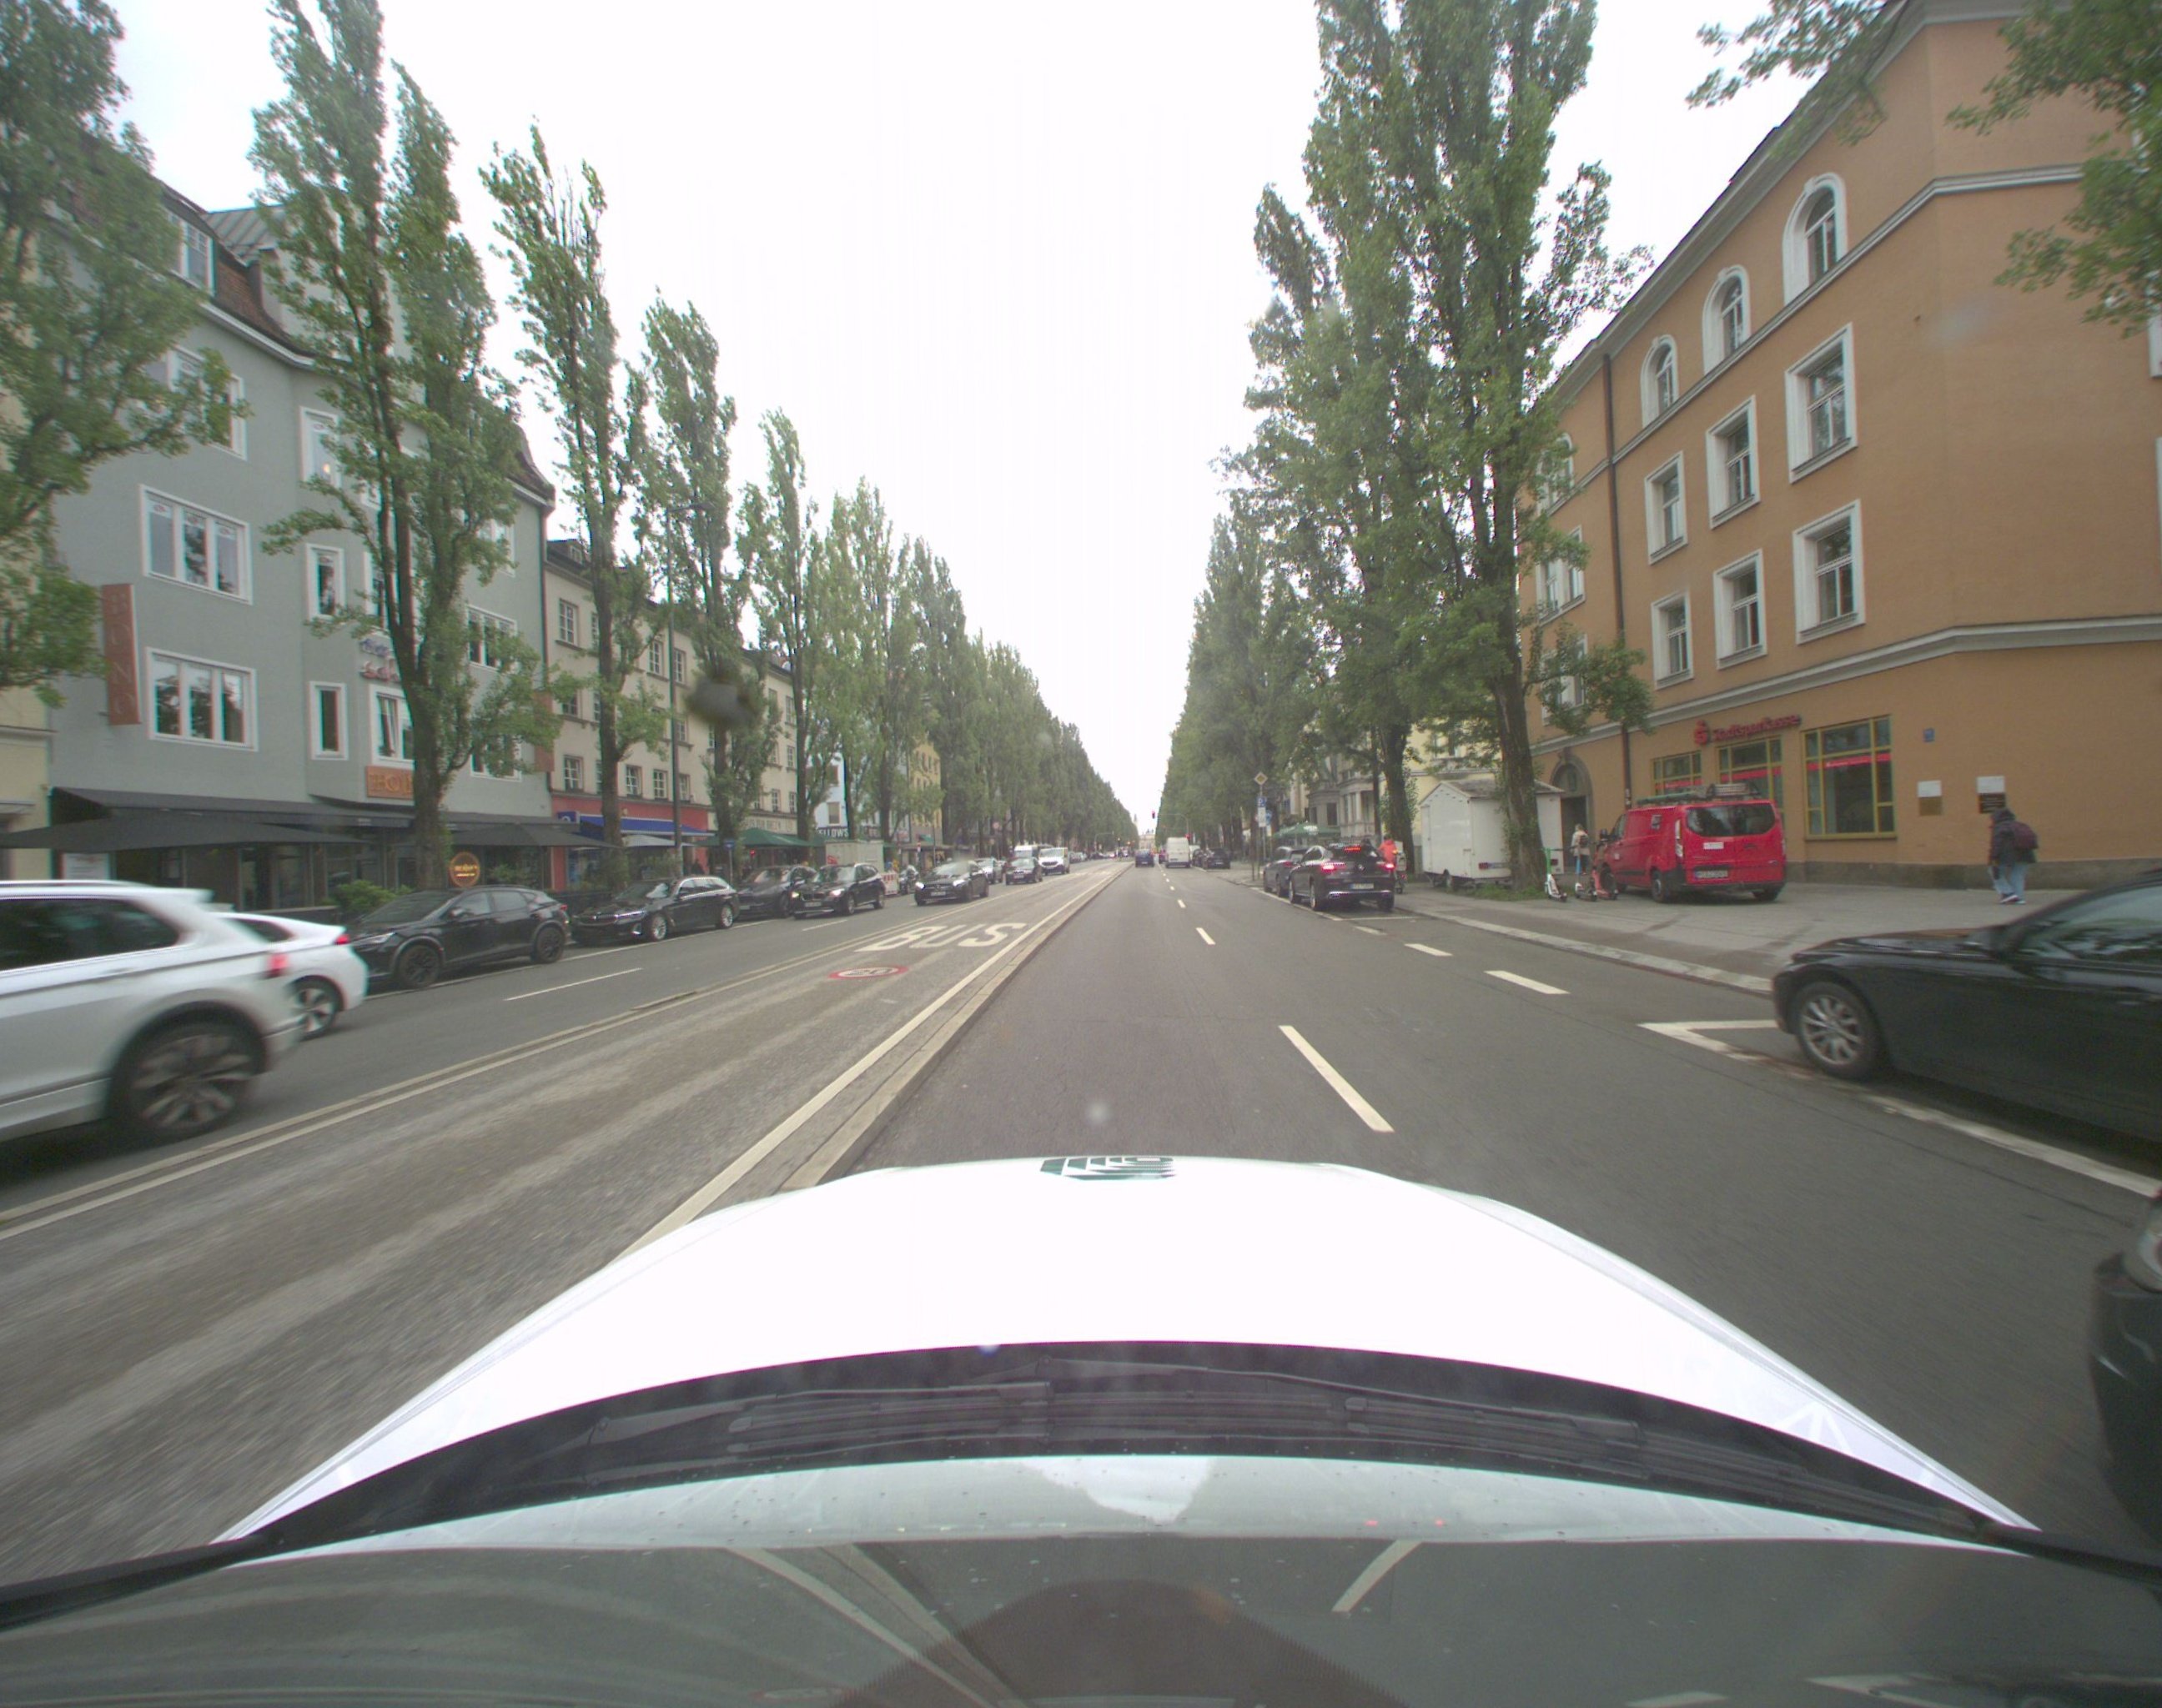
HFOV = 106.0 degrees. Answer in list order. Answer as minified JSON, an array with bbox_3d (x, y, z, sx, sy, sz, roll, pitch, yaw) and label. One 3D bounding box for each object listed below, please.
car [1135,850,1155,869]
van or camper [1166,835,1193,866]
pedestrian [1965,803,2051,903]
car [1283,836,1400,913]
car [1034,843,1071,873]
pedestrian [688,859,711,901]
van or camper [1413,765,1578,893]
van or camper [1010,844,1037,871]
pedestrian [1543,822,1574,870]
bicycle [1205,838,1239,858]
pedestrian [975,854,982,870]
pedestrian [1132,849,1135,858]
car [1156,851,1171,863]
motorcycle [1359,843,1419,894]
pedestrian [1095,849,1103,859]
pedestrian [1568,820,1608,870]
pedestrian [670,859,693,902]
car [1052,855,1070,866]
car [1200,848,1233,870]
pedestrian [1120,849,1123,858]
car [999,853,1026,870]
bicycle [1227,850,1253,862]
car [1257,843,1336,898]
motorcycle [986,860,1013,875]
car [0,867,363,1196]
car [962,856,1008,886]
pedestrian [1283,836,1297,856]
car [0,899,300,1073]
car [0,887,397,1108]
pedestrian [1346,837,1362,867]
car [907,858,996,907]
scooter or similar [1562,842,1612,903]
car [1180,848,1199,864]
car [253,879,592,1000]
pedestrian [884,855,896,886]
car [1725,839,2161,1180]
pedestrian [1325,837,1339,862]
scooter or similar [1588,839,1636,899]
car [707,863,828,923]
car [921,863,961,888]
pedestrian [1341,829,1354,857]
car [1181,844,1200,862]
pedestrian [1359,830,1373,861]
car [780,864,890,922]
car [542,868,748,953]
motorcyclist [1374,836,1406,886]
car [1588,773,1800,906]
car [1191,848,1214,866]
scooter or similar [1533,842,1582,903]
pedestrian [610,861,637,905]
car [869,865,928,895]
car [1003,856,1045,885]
[{"bbox_3d":[5.859,0.487,74.251,1.751,1.619,3.751,-1,-1,5],"label":"car"},{"bbox_3d":[8.245,-0.258,68.548,2.025,2.475,4.004,-2,-1,4],"label":"van or camper"},{"bbox_3d":[14.966,-0.013,13.157,0.607,1.551,0.709,-4,0,-24],"label":"pedestrian"},{"bbox_3d":[6.436,0.444,20.628,1.871,1.642,4.591,-3,0,6],"label":"car"},{"bbox_3d":[-2.024,0.301,59.658,1.985,1.934,4.924,-4,-1,4],"label":"car"},{"bbox_3d":[-17.230,1.170,36.759,0.635,1.862,0.648,-3,0,4],"label":"pedestrian"},{"bbox_3d":[11.501,-0.650,23.090,2.448,3.112,4.722,-3,0,5],"label":"van or camper"},{"bbox_3d":[-5.566,0.292,79.281,1.984,2.458,4.256,-2,0,4],"label":"van or camper"},{"bbox_3d":[16.262,-0.271,27.741,0.669,1.613,0.641,-3,0,7],"label":"pedestrian"},{"bbox_3d":[15.019,-0.604,86.712,3.524,2.014,1.301,-1,-1,13],"label":"bicycle"},{"bbox_3d":[-11.782,0.917,93.857,0.579,1.856,0.675,-2,0,3],"label":"pedestrian"},{"bbox_3d":[9.864,-0.070,153.459,0.550,1.716,0.494,-3,0,5],"label":"pedestrian"},{"bbox_3d":[9.078,0.318,89.979,1.497,1.313,3.287,-2,0,4],"label":"car"},{"bbox_3d":[8.922,0.401,23.698,0.823,1.370,2.253,-3,0,1],"label":"motorcycle"},{"bbox_3d":[3.598,-0.035,166.518,1.144,1.916,1.143,-3,0,-27],"label":"pedestrian"},{"bbox_3d":[16.739,-0.291,26.908,0.816,1.613,0.780,-3,0,7],"label":"pedestrian"},{"bbox_3d":[-17.978,1.184,36.645,0.635,1.862,0.648,-3,0,4],"label":"pedestrian"},{"bbox_3d":[-2.832,0.955,116.590,1.982,1.420,4.009,-1,-1,8],"label":"car"},{"bbox_3d":[9.918,0.377,59.843,1.935,1.467,4.004,-3,0,3],"label":"car"},{"bbox_3d":[7.645,-0.041,153.732,0.550,1.716,0.494,-3,0,5],"label":"pedestrian"},{"bbox_3d":[-6.107,0.665,73.201,1.787,1.429,4.004,-1,-1,4],"label":"car"},{"bbox_3d":[14.615,0.222,75.051,0.764,1.023,2.707,-2,0,-30],"label":"bicycle"},{"bbox_3d":[6.925,0.469,26.529,1.616,1.565,4.376,-3,0,4],"label":"car"},{"bbox_3d":[-6.633,1.078,66.613,1.230,1.140,3.727,-2,0,9],"label":"motorcycle"},{"bbox_3d":[-6.538,0.982,3.927,1.931,1.642,4.468,-3,0,4],"label":"car"},{"bbox_3d":[-5.525,0.969,47.346,1.817,1.532,4.004,-3,-1,4],"label":"car"},{"bbox_3d":[18.309,-0.696,71.285,0.805,1.755,0.939,-3,0,30],"label":"pedestrian"},{"bbox_3d":[-11.384,1.424,8.776,1.796,1.519,4.006,-3,0,5],"label":"car"},{"bbox_3d":[-8.977,1.191,7.147,1.931,1.493,4.461,-3,0,4],"label":"car"},{"bbox_3d":[15.098,-0.120,44.986,0.662,1.650,0.630,-2,0,31],"label":"pedestrian"},{"bbox_3d":[-4.489,0.959,29.043,1.985,1.432,4.777,-4,0,4],"label":"car"},{"bbox_3d":[10.848,0.368,17.494,0.482,1.232,1.412,-4,0,17],"label":"scooter or similar"},{"bbox_3d":[11.419,0.256,86.066,1.754,1.596,4.004,-1,-1,4],"label":"car"},{"bbox_3d":[-10.885,1.311,13.987,1.984,1.482,4.326,-3,0,5],"label":"car"},{"bbox_3d":[-11.100,0.968,47.318,0.665,1.787,0.826,-1,-1,-12],"label":"pedestrian"},{"bbox_3d":[5.491,0.659,3.698,1.726,1.394,4.436,-3,0,3],"label":"car"},{"bbox_3d":[18.794,-0.345,61.097,0.757,1.853,0.740,-3,0,1],"label":"pedestrian"},{"bbox_3d":[11.377,0.305,17.481,0.482,1.232,1.173,-4,0,17],"label":"scooter or similar"},{"bbox_3d":[-9.844,1.175,25.980,1.840,1.564,4.337,-3,1,4],"label":"car"},{"bbox_3d":[-8.106,1.220,47.344,1.505,1.345,3.240,-1,-1,4],"label":"car"},{"bbox_3d":[15.944,-0.676,48.651,0.643,1.647,0.769,-1,-1,13],"label":"pedestrian"},{"bbox_3d":[12.361,-0.058,92.065,1.796,1.992,4.004,-1,-1,4],"label":"car"},{"bbox_3d":[17.016,-0.503,48.685,0.696,1.873,0.769,-1,-1,13],"label":"pedestrian"},{"bbox_3d":[-7.583,1.160,25.546,1.840,1.564,4.217,-3,-1,4],"label":"car"},{"bbox_3d":[-10.418,1.260,20.021,1.984,1.596,4.899,-3,0,6],"label":"car"},{"bbox_3d":[9.006,0.206,23.760,0.562,1.406,0.766,-3,0,1],"label":"motorcyclist"},{"bbox_3d":[12.673,-0.291,17.280,1.886,2.328,4.845,-3,0,16],"label":"car"},{"bbox_3d":[11.094,0.315,74.608,1.796,1.596,4.004,-1,-1,4],"label":"car"},{"bbox_3d":[10.420,0.381,17.855,0.521,1.232,1.483,-4,0,17],"label":"scooter or similar"},{"bbox_3d":[-18.107,1.139,32.239,0.635,1.700,0.648,-3,0,4],"label":"pedestrian"},{"bbox_3d":[-8.817,1.218,39.624,1.802,1.250,3.704,-2,0,4],"label":"car"},{"bbox_3d":[-3.036,0.874,44.042,1.704,1.414,3.727,-3,0,4],"label":"car"}]
